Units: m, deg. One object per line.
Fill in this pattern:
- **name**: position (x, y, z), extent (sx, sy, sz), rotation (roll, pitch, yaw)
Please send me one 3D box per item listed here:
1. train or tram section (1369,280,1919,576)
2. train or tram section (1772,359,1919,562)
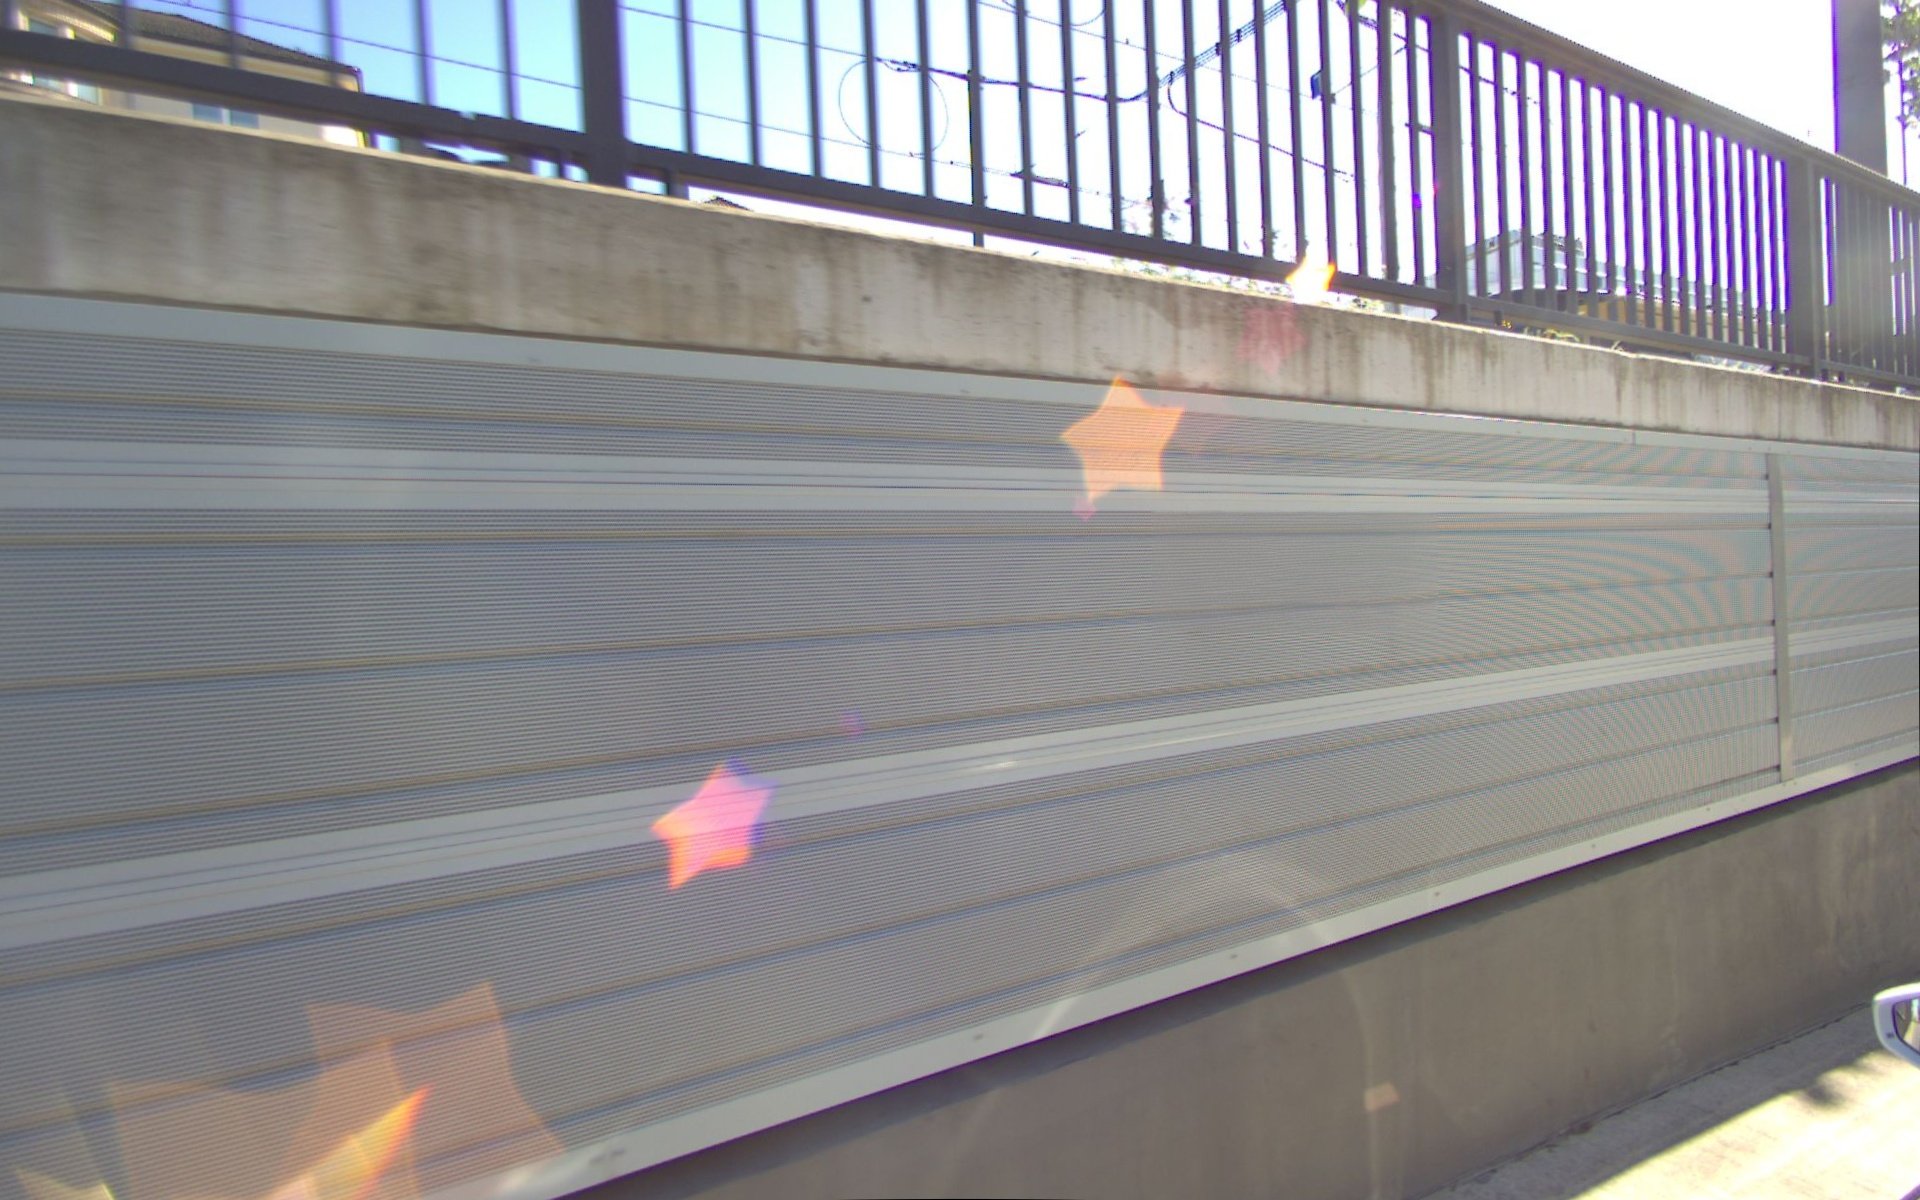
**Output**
- **train or tram section**: position (12.402, -2.395, 17.087), extent (13.181, 3.705, 2.598), rotation (-2, 2, -30)
- **train or tram section**: position (23.633, -2.944, 23.701), extent (12.936, 3.873, 2.598), rotation (-2, 2, -31)
